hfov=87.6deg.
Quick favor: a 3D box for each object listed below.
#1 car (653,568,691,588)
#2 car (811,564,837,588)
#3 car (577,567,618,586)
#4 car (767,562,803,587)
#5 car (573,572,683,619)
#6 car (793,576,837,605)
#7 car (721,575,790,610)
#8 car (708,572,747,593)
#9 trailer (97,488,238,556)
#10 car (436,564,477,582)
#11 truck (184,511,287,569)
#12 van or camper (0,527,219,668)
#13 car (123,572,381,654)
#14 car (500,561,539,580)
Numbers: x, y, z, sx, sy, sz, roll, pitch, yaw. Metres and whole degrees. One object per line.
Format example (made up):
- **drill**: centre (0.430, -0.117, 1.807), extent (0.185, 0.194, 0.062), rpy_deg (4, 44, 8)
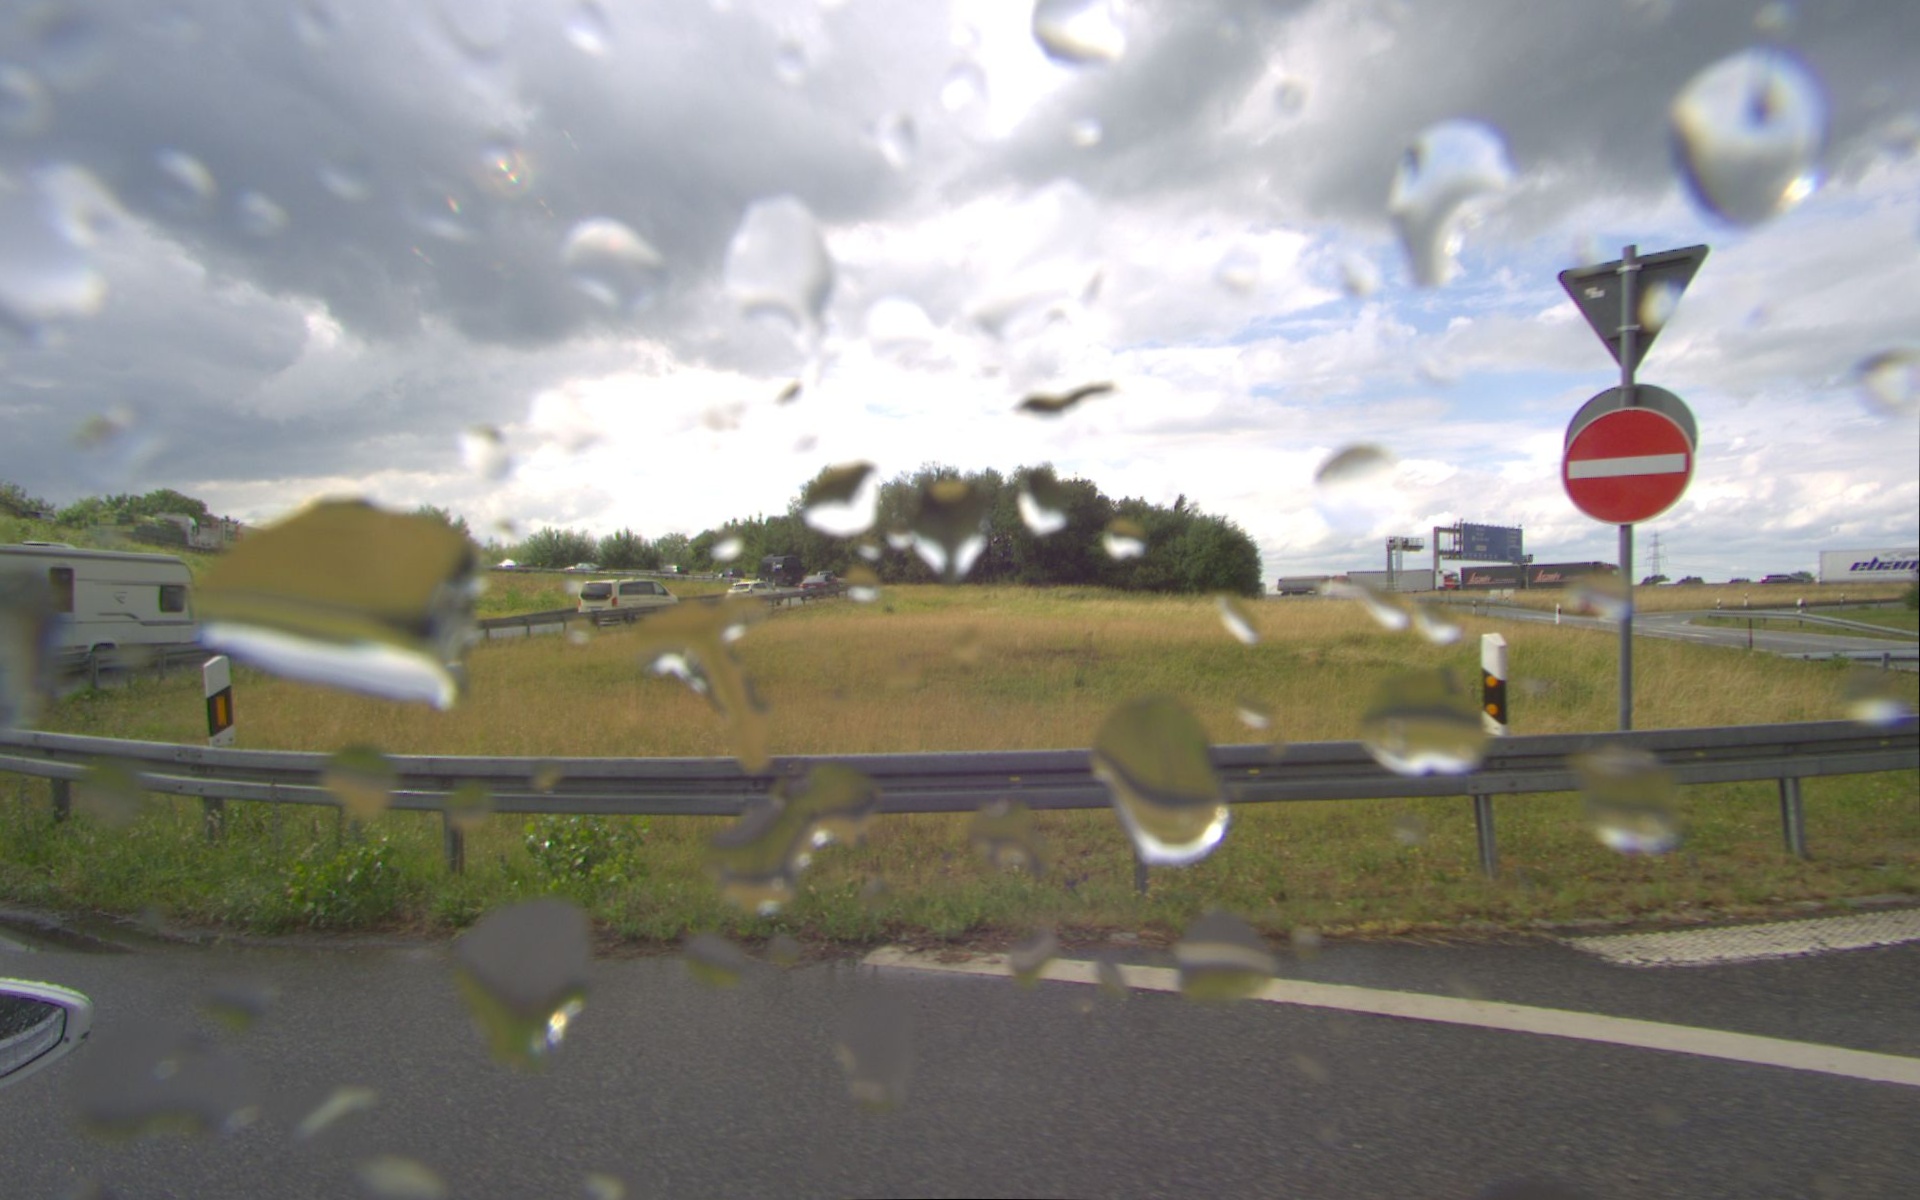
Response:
- **car**: centre (-30.852, -2.341, 107.346), extent (3.947, 2.041, 1.986), rpy_deg (2, 2, 37)
- **car**: centre (-11.043, -1.890, 81.014), extent (1.635, 1.808, 5.050), rpy_deg (0, 0, -13)
- **car**: centre (-40.134, -2.577, 110.889), extent (3.930, 2.039, 1.996), rpy_deg (0, -1, 21)
- **car**: centre (-15.900, -2.286, 91.068), extent (1.972, 2.039, 3.980), rpy_deg (1, -2, -30)
- **car**: centre (-14.099, -0.195, 42.940), extent (1.963, 1.886, 5.049), rpy_deg (0, 0, 16)
- **car**: centre (-9.536, -0.618, 66.142), extent (1.961, 1.886, 5.056), rpy_deg (0, 0, 3)
- **car**: centre (-11.412, -0.409, 56.283), extent (1.962, 1.886, 5.052), rpy_deg (0, 0, 12)
- **car**: centre (-23.200, -1.745, 99.869), extent (3.956, 2.041, 1.982), rpy_deg (0, 1, 43)
- **trailer**: centre (-70.552, -6.684, 90.068), extent (4.355, 4.006, 20.163), rpy_deg (1, -2, -22)
- **car**: centre (-59.400, -3.140, 118.205), extent (3.923, 2.040, 1.999), rpy_deg (0, 0, 8)
- **truck**: centre (-77.771, -6.202, 108.123), extent (4.401, 4.560, 19.323), rpy_deg (1, -2, -22)
- **van or camper**: centre (-19.951, -0.075, 22.192), extent (2.391, 2.766, 6.000), rpy_deg (2, 0, 3)
- **car**: centre (-19.313, 0.302, 27.770), extent (2.390, 1.951, 5.755), rpy_deg (2, 1, 12)
- **car**: centre (-50.838, -3.383, 115.594), extent (3.930, 2.039, 1.996), rpy_deg (0, -1, 21)
